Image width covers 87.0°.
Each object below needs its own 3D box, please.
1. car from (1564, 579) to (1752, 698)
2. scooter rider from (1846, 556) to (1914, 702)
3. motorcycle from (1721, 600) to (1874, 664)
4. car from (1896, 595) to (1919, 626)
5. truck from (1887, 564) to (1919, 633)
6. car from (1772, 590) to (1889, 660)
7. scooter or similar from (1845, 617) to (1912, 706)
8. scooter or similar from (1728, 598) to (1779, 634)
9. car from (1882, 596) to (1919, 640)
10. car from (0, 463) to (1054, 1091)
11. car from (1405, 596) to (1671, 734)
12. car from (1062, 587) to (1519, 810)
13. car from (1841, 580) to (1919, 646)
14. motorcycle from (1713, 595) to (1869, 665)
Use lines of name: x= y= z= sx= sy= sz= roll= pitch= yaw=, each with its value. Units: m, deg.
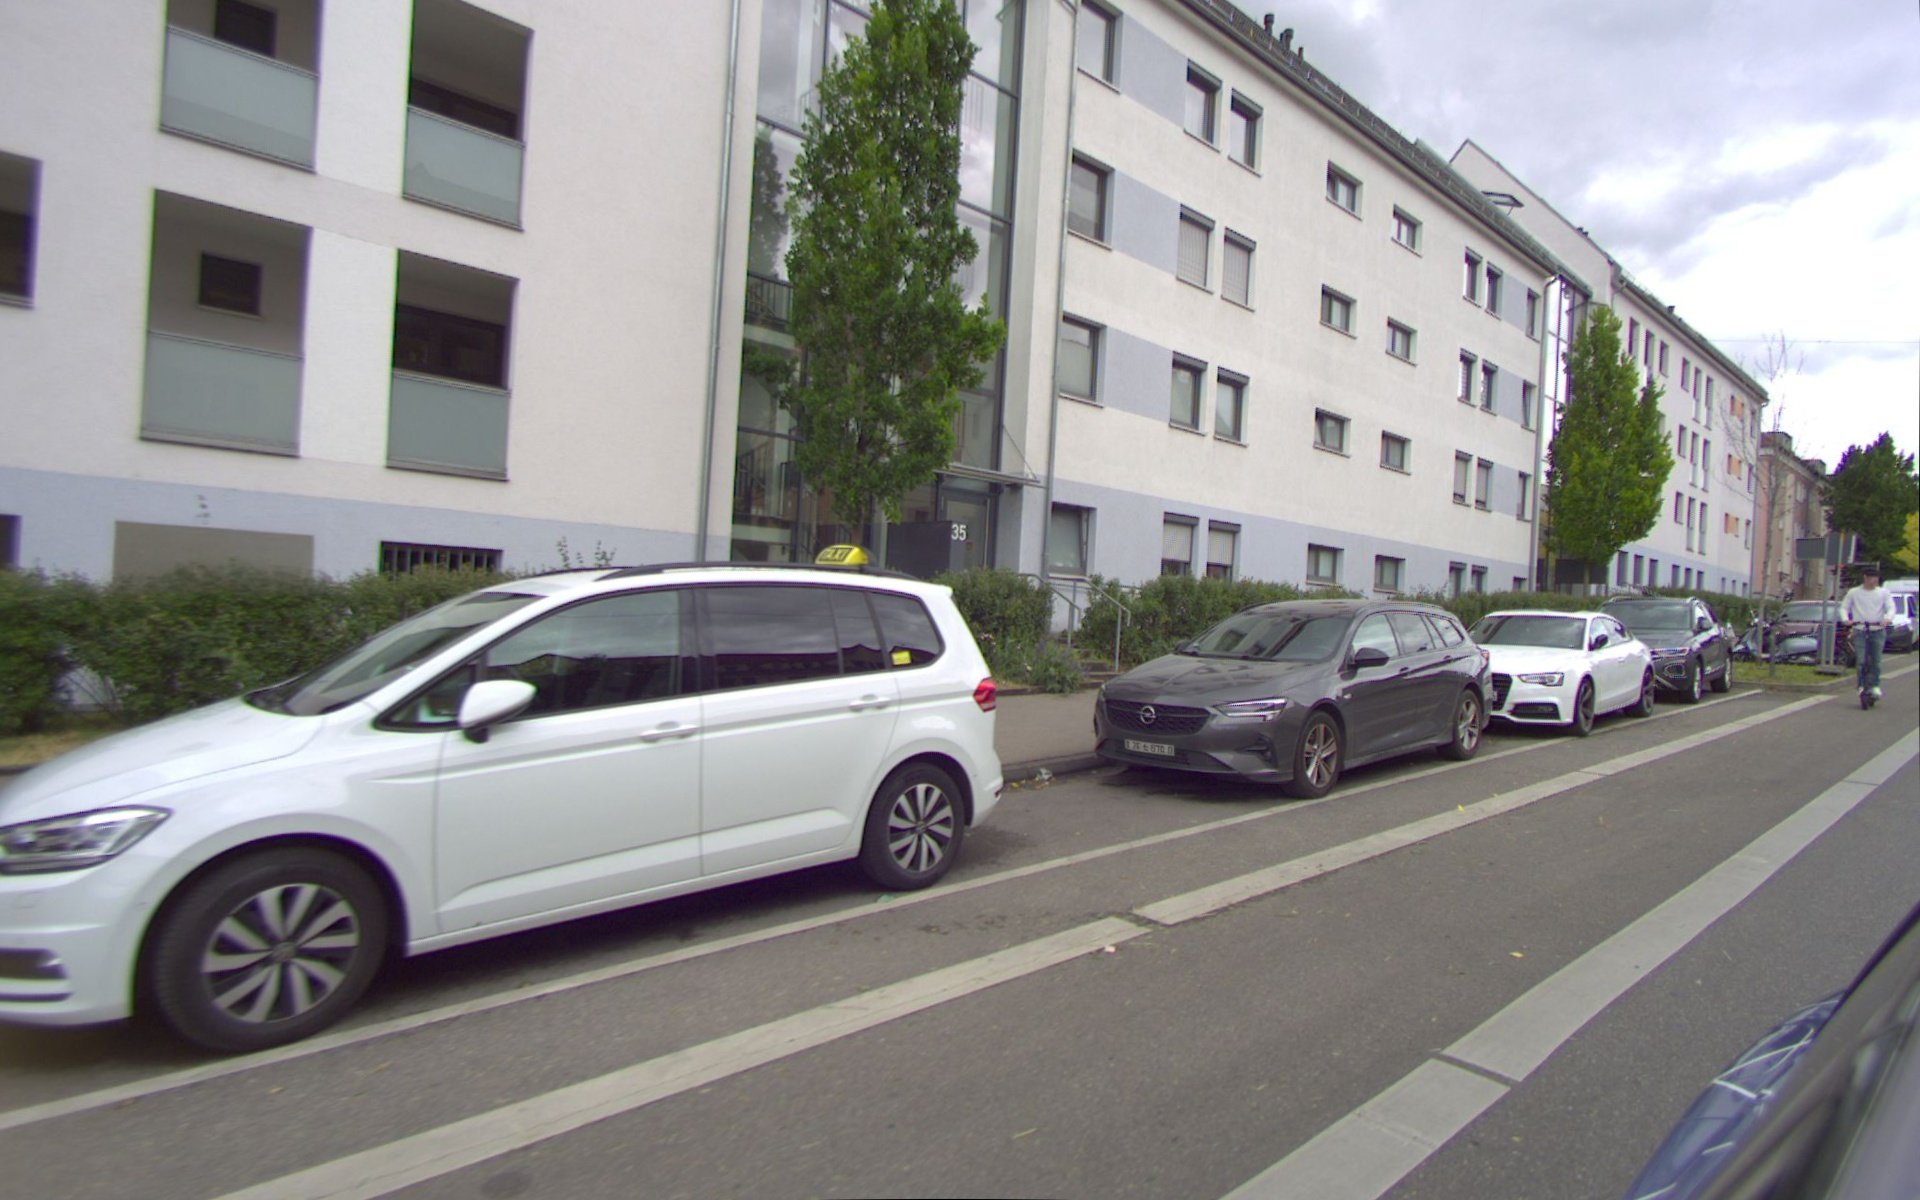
car: x=11.315 y=0.553 z=16.284 sx=4.282 sy=1.671 sz=1.633 roll=1 pitch=0 yaw=-43
scooter rider: x=13.293 y=0.402 z=14.620 sx=0.744 sy=2.039 sz=0.626 roll=1 pitch=0 yaw=-42
motorcycle: x=18.946 y=0.689 z=22.965 sx=0.741 sy=1.295 sz=2.599 roll=1 pitch=1 yaw=-44
car: x=52.586 y=0.631 z=53.328 sx=1.865 sy=1.640 sz=4.371 roll=1 pitch=1 yaw=-20
truck: x=38.078 y=-0.032 z=39.639 sx=5.592 sy=2.598 sz=2.055 roll=1 pitch=1 yaw=-42
car: x=21.499 y=0.576 z=24.936 sx=4.265 sy=1.564 sz=1.683 roll=1 pitch=1 yaw=-43
scooter or similar: x=13.210 y=0.847 z=14.535 sx=2.039 sy=1.178 sz=0.491 roll=1 pitch=0 yaw=-42
scooter or similar: x=26.003 y=0.516 z=33.167 sx=0.460 sy=1.118 sz=1.387 roll=1 pitch=1 yaw=-5
car: x=34.012 y=0.626 z=35.903 sx=3.661 sy=1.504 sz=1.527 roll=1 pitch=0 yaw=-41
car: x=-1.673 y=0.502 z=4.840 sx=4.474 sy=1.737 sz=1.661 roll=1 pitch=0 yaw=-43
car: x=7.351 y=0.691 z=12.661 sx=4.424 sy=1.431 sz=1.731 roll=1 pitch=0 yaw=-44
car: x=3.192 y=0.673 z=9.074 sx=4.864 sy=1.486 sz=1.748 roll=1 pitch=0 yaw=-43
car: x=30.188 y=0.405 z=32.668 sx=5.121 sy=1.968 sz=1.997 roll=1 pitch=1 yaw=-42
motorcycle: x=18.353 y=0.627 z=22.422 sx=0.681 sy=1.398 sz=2.599 roll=1 pitch=1 yaw=-44
